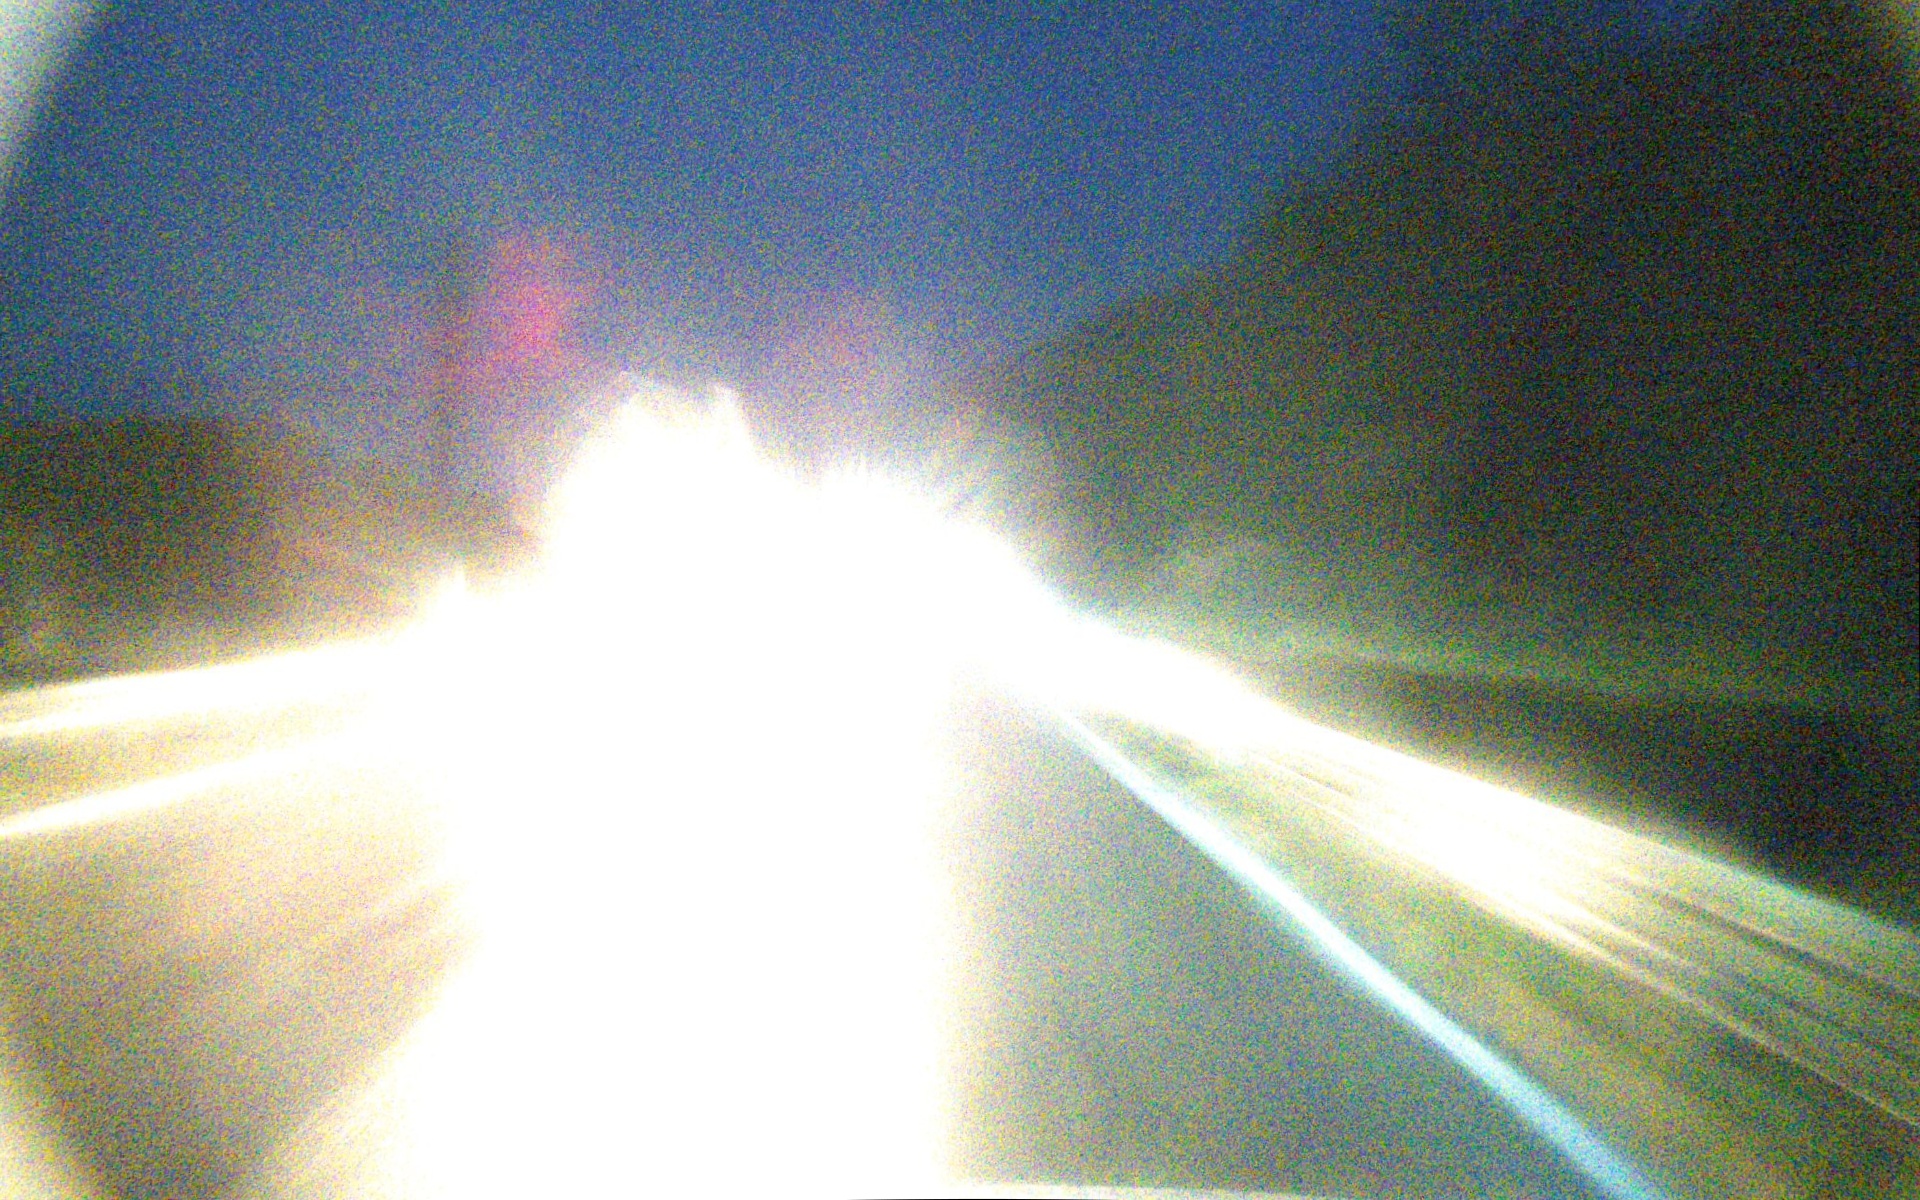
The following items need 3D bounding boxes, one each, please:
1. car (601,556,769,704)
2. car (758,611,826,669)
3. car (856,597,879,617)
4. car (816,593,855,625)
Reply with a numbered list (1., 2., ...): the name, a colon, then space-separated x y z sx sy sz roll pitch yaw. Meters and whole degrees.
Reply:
1. car: -3.825 0.386 23.715 1.795 1.903 4.427 1 0 -2
2. car: -4.566 1.060 45.333 1.632 1.481 3.424 1 0 -3
3. car: -7.718 0.562 137.693 1.831 1.641 3.845 1 0 -3
4. car: -5.534 0.381 73.852 1.608 1.383 3.679 1 0 -3
